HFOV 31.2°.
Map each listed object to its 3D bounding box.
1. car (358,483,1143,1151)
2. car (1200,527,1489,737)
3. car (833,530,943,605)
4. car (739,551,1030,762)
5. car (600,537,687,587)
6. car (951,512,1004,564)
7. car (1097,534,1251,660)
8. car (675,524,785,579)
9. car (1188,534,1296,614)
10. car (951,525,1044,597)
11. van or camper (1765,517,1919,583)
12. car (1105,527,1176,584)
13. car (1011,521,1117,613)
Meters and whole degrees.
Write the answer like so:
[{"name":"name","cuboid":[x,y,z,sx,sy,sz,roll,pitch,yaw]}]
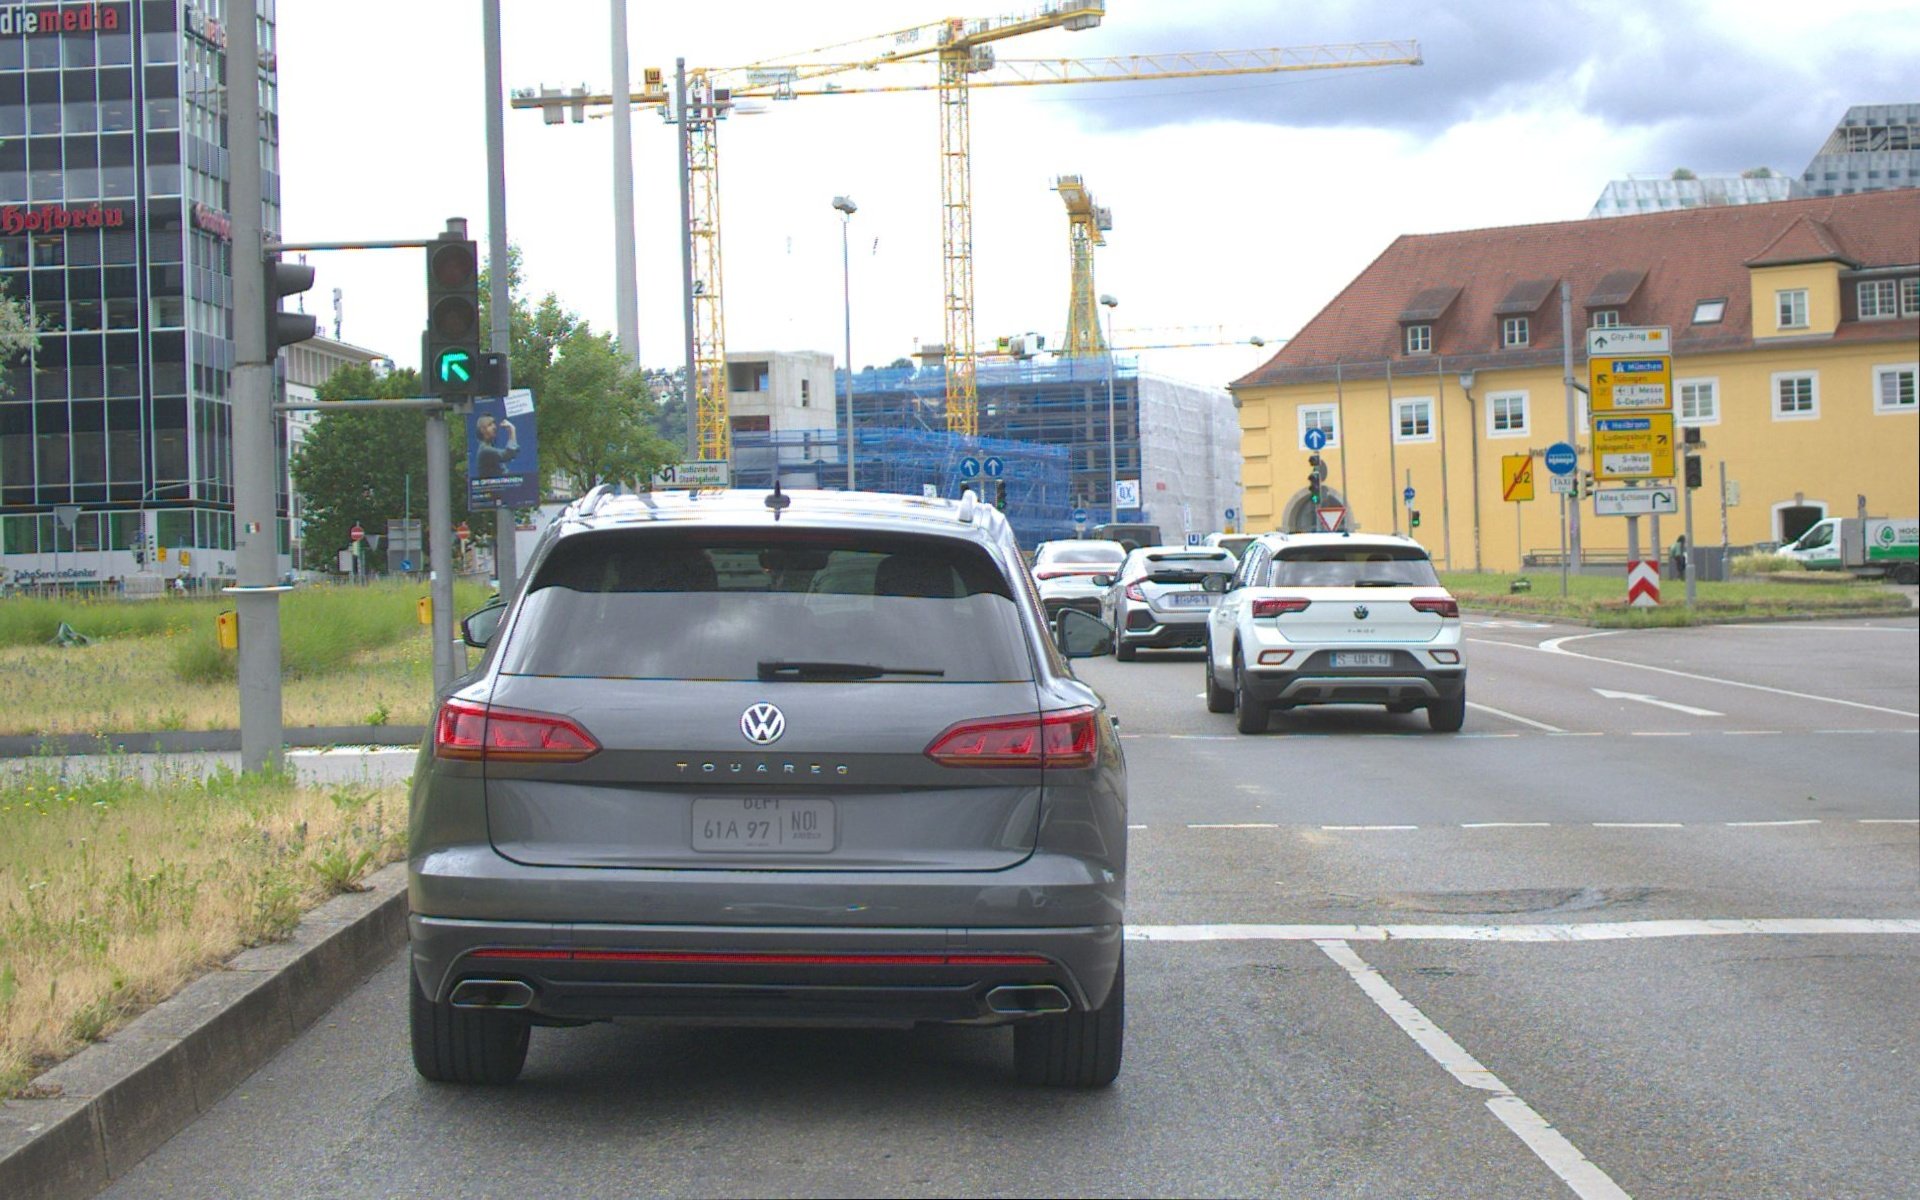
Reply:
[{"name":"car","cuboid":[-0.545,0.494,10.515,1.933,1.641,4.000,0,1,-1]},{"name":"car","cuboid":[3.064,0.203,28.090,1.893,1.580,3.801,0,1,-1]},{"name":"car","cuboid":[-1.521,-0.691,71.477,1.814,1.491,3.907,-1,1,-8]},{"name":"car","cuboid":[-0.552,0.361,25.738,1.993,1.382,4.000,-1,2,-1]},{"name":"car","cuboid":[-9.888,-1.195,107.338,1.718,1.497,3.982,-1,1,-20]},{"name":"car","cuboid":[0.678,-2.467,135.982,1.993,2.007,4.000,-1,1,-1]},{"name":"car","cuboid":[2.660,-0.077,43.493,1.719,1.497,4.144,0,1,0]},{"name":"car","cuboid":[-6.501,-1.374,96.699,2.244,1.497,4.613,-1,1,-14]},{"name":"car","cuboid":[5.510,-0.533,67.560,1.803,1.497,3.981,0,1,0]},{"name":"car","cuboid":[0.813,-0.898,77.048,1.814,1.491,3.907,-2,1,-3]},{"name":"van or camper","cuboid":[28.326,-1.554,107.118,6.017,2.007,2.015,0,1,35]},{"name":"car","cuboid":[4.831,-1.216,92.323,1.719,1.497,3.981,0,1,0]},{"name":"car","cuboid":[1.789,-0.581,58.311,1.719,1.497,3.981,0,1,3]}]
